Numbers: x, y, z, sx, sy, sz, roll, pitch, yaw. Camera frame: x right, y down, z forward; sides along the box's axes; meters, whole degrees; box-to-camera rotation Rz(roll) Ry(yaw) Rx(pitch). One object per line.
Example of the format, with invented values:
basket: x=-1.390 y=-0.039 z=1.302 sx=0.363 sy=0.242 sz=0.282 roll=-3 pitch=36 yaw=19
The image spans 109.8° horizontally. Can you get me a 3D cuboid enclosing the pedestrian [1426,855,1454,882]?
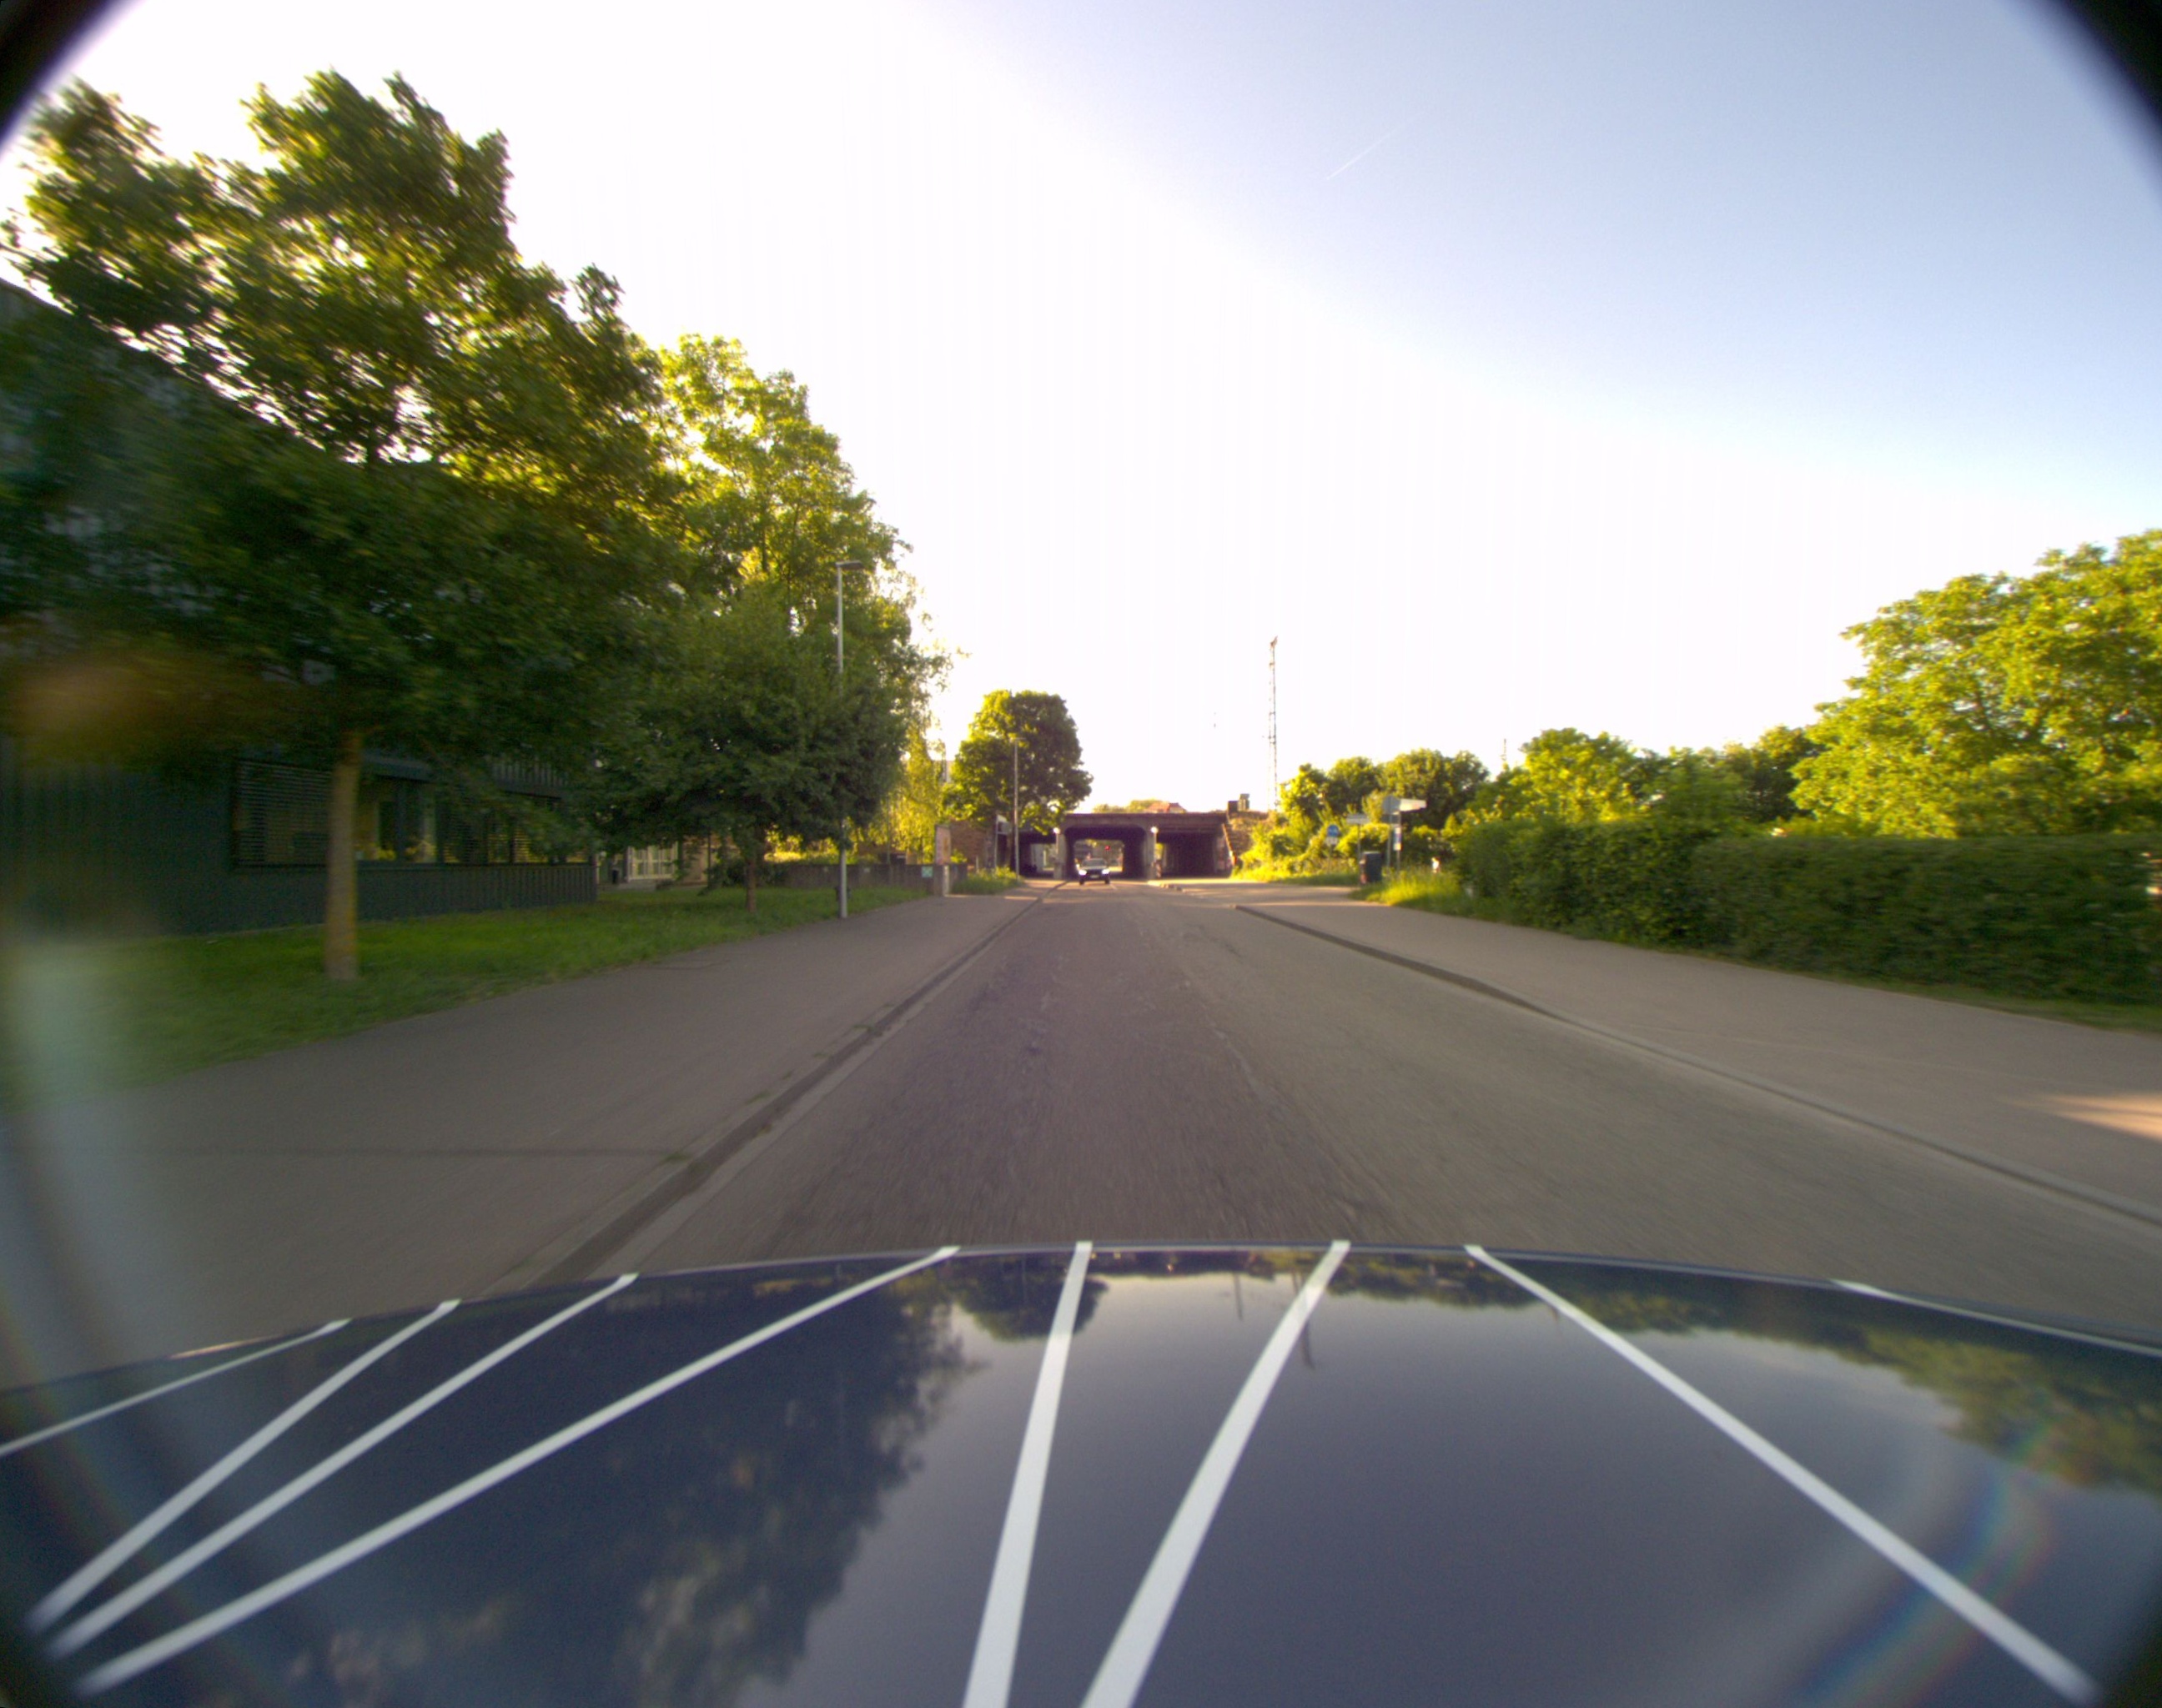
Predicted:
pedestrian: x=19.014 y=0.768 z=40.289 sx=1.021 sy=1.396 sz=0.813 roll=1 pitch=2 yaw=-8

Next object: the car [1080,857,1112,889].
car: x=0.982 y=1.163 z=48.807 sx=1.940 sy=1.922 sz=4.525 roll=1 pitch=0 yaw=2
